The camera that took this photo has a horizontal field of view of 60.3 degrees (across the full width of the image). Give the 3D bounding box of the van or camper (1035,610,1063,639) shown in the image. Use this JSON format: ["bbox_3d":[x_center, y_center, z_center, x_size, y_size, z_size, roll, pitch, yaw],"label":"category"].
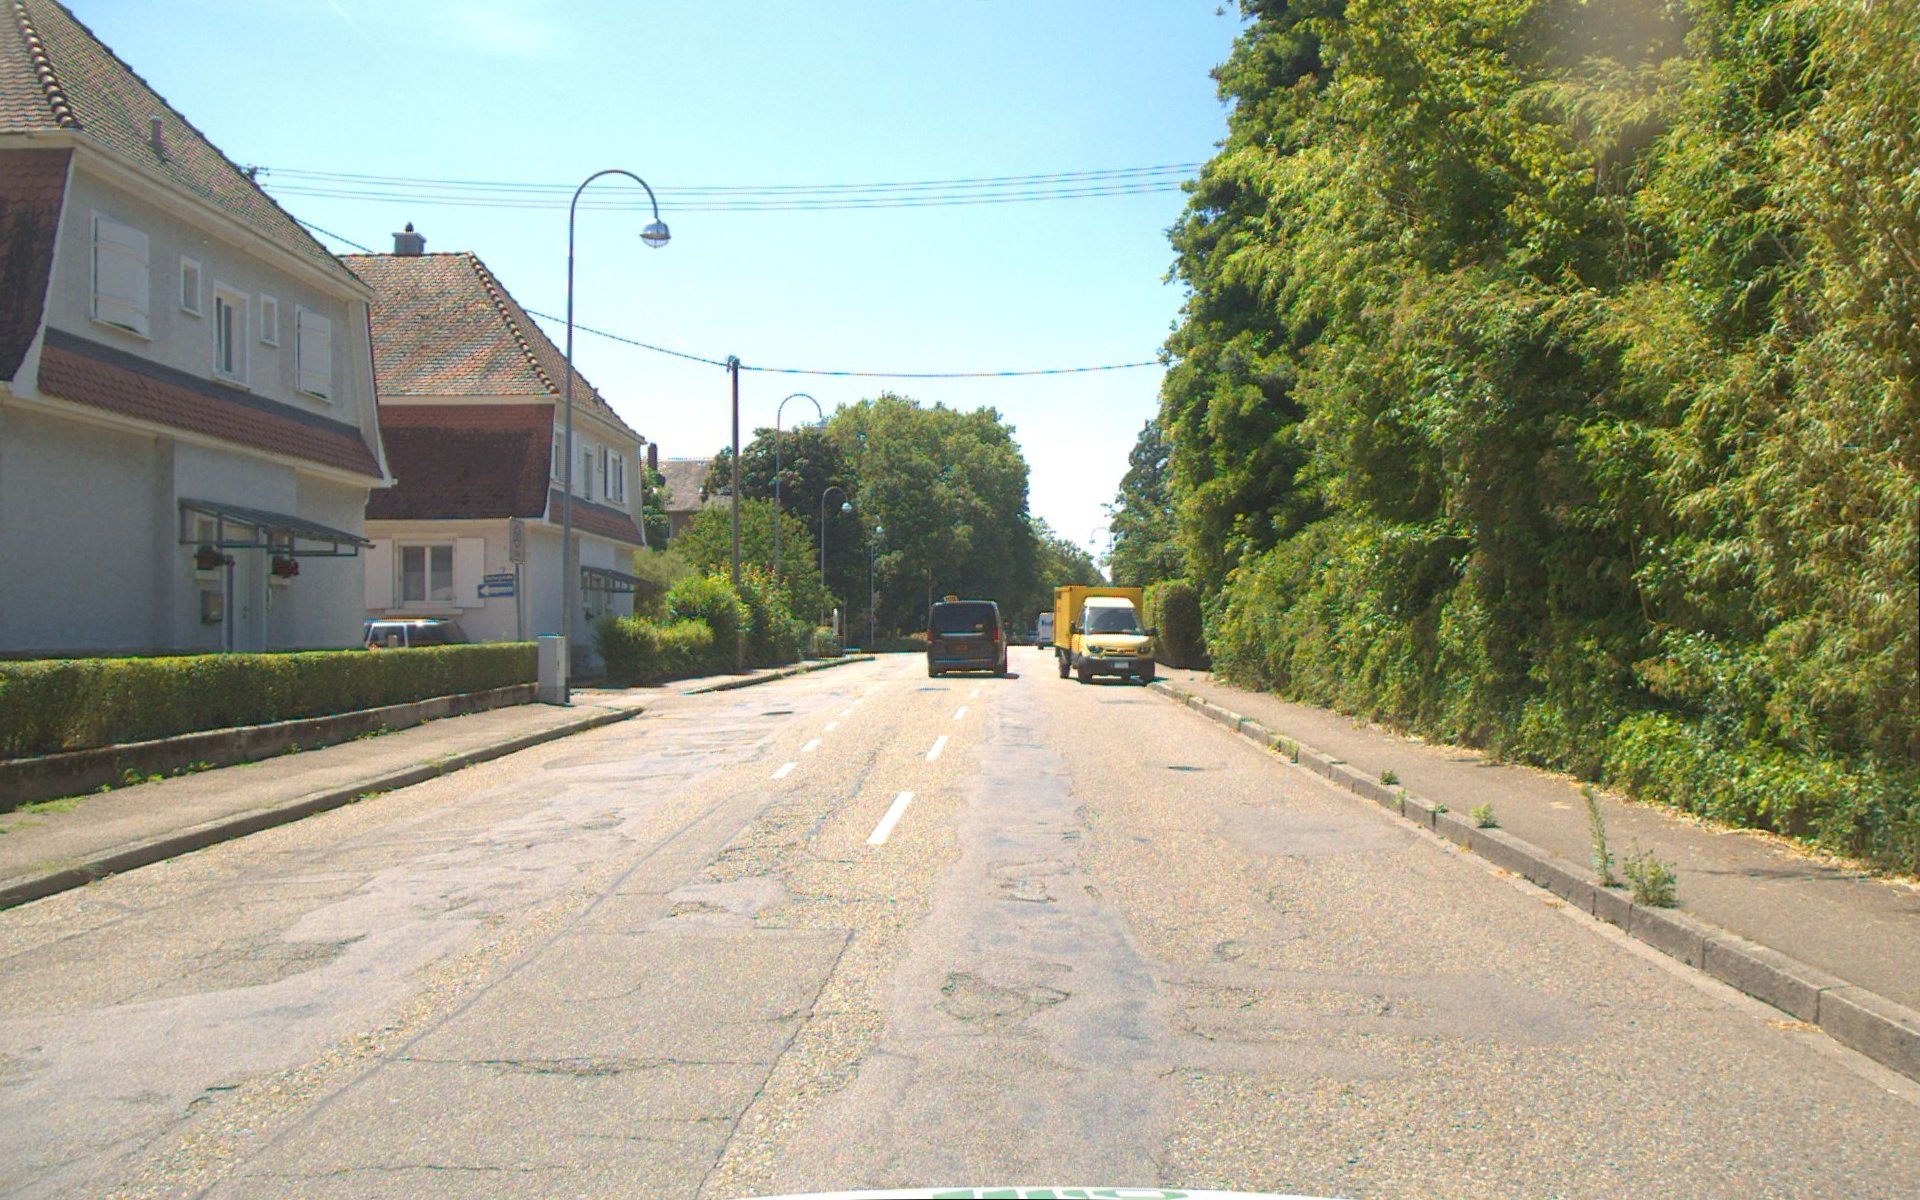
[{"bbox_3d":[6.443,1.795,119.510,1.952,2.049,4.002,-1,-1,4],"label":"van or camper"}]

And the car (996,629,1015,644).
[{"bbox_3d":[4.675,3.738,169.166,1.515,1.474,3.008,-1,-1,10],"label":"car"}]

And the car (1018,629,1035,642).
[{"bbox_3d":[7.475,3.967,186.301,1.515,1.474,3.008,-1,-1,10],"label":"car"}]

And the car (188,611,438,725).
[{"bbox_3d":[-11.790,1.211,30.313,3.787,1.938,1.880,-1,-1,1],"label":"car"}]

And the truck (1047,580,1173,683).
[{"bbox_3d":[3.531,0.750,40.293,2.308,2.298,6.089,-1,-1,-2],"label":"truck"}]

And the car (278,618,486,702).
[{"bbox_3d":[-12.424,1.280,35.731,3.787,1.670,1.880,-1,-1,1],"label":"car"}]

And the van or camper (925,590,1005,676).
[{"bbox_3d":[0.191,0.817,42.218,1.863,2.049,5.271,0,-1,2],"label":"van or camper"}]
